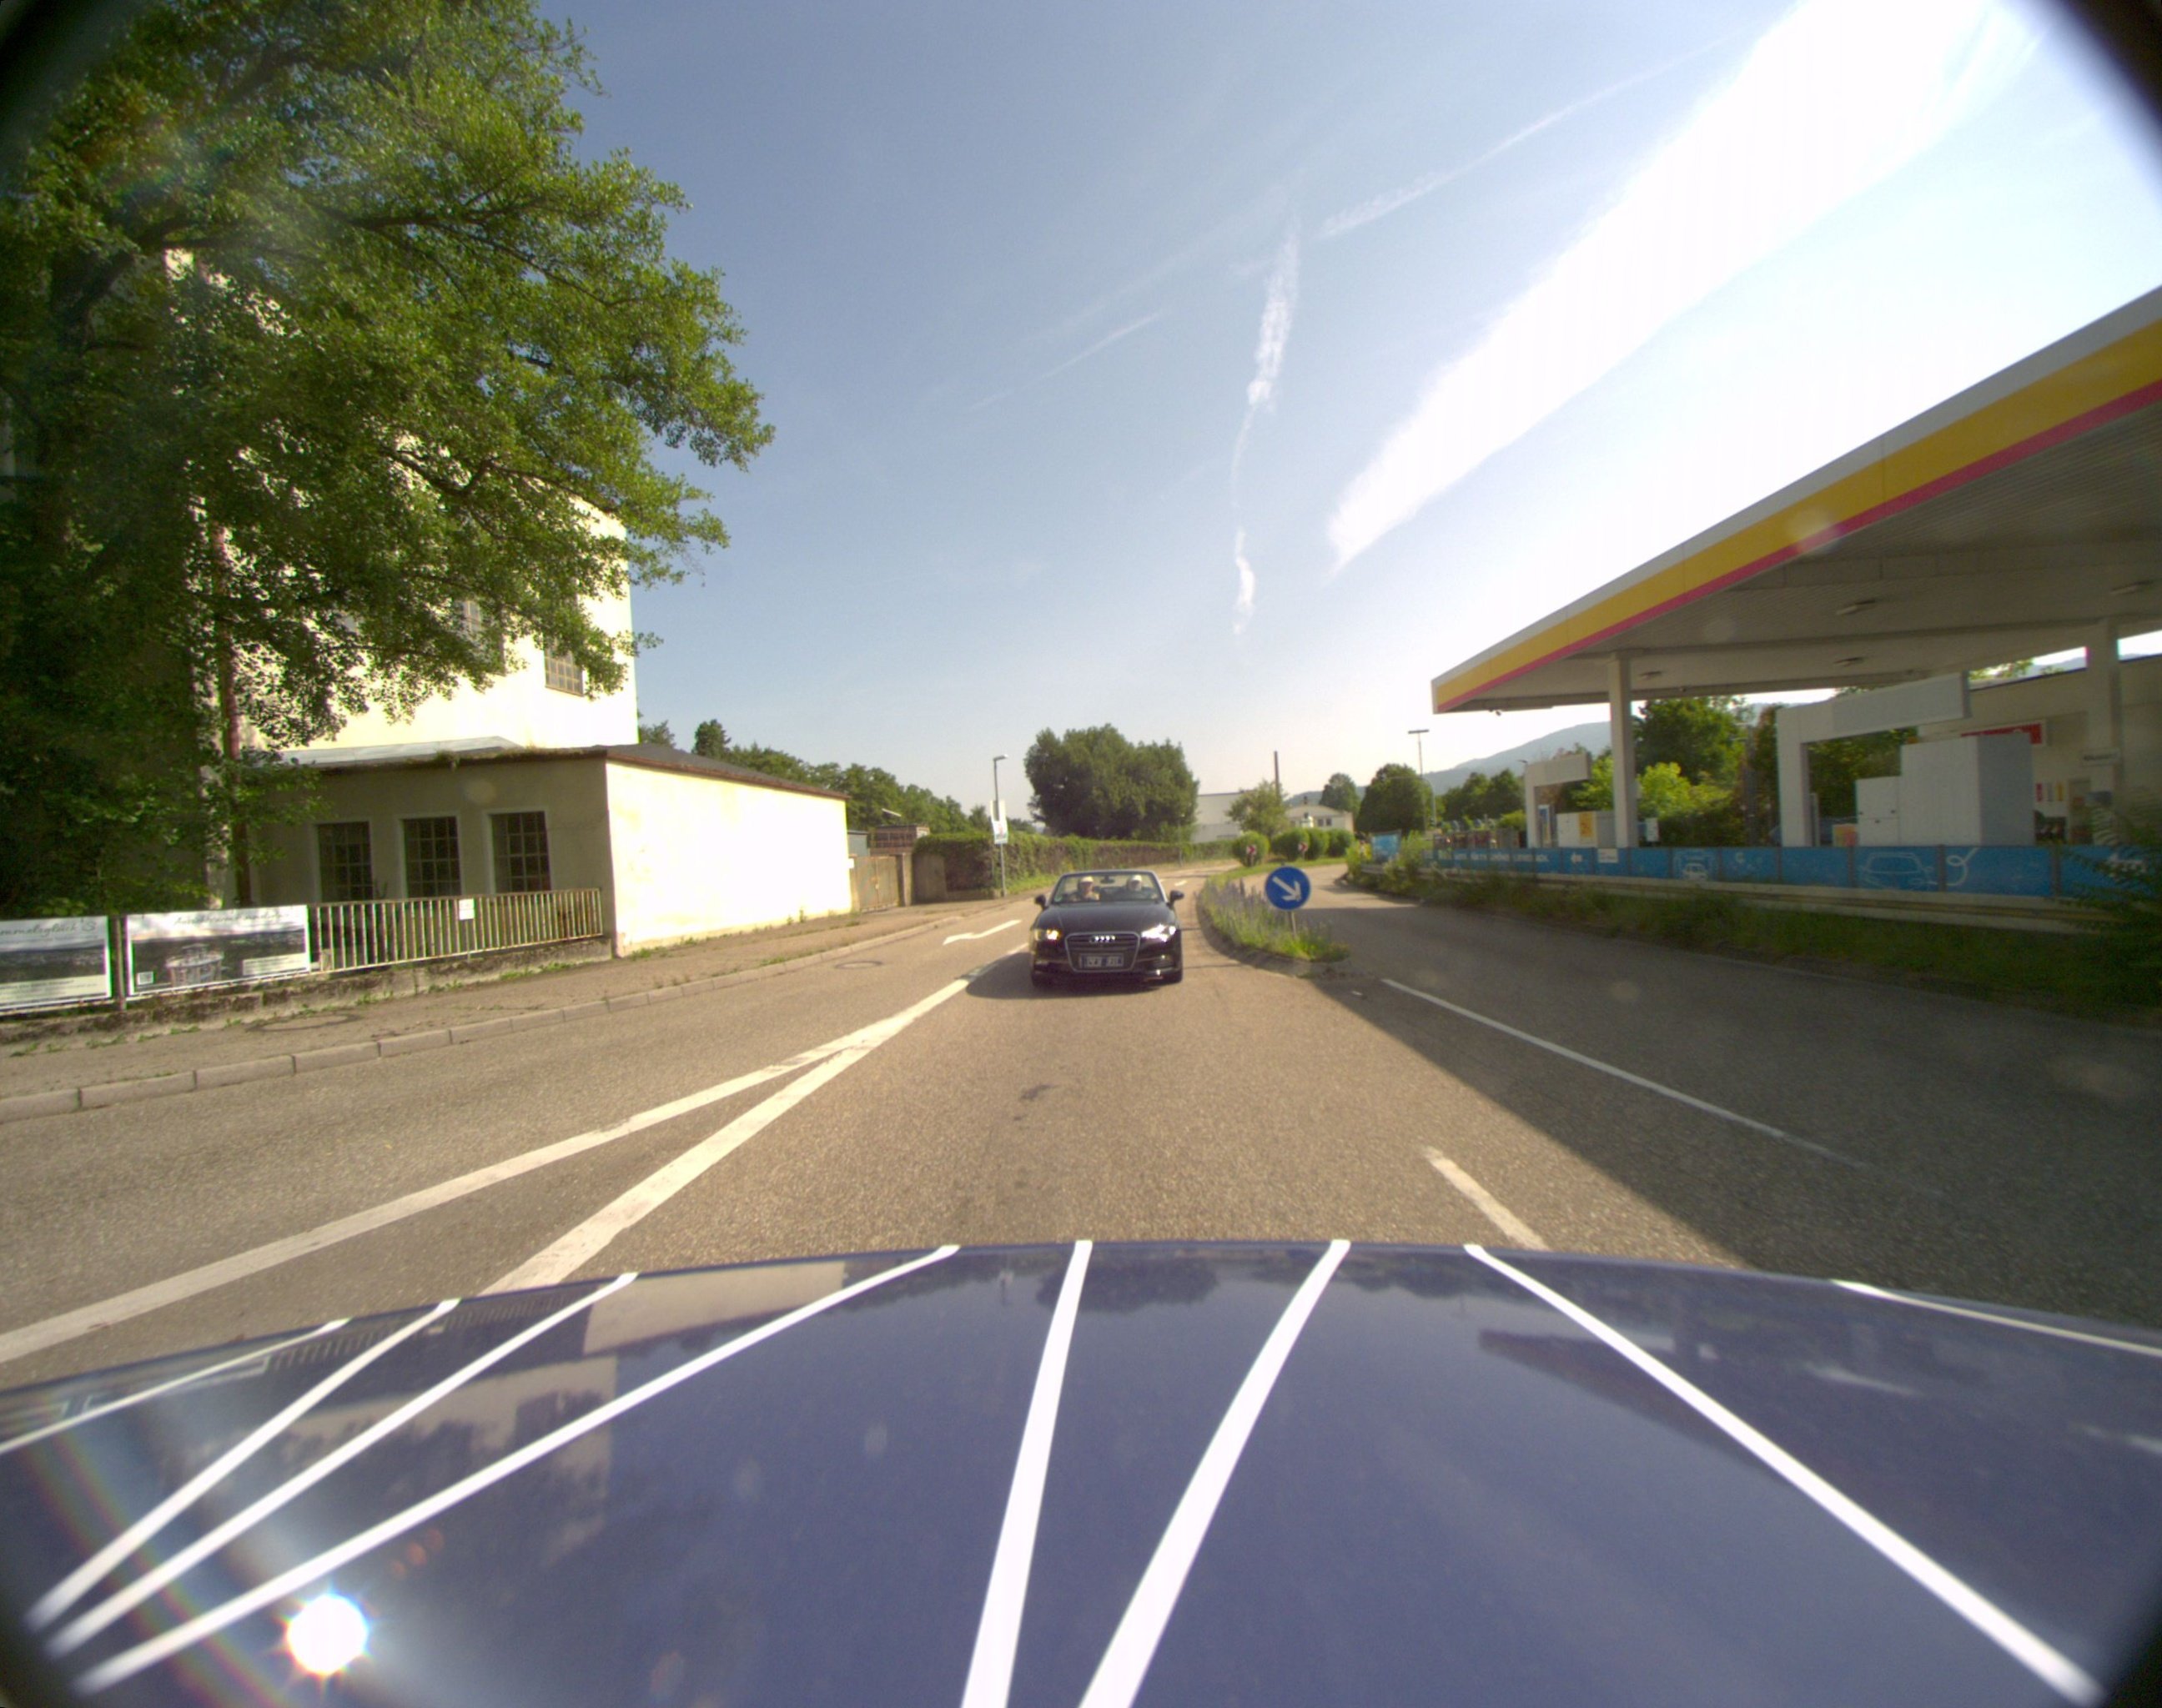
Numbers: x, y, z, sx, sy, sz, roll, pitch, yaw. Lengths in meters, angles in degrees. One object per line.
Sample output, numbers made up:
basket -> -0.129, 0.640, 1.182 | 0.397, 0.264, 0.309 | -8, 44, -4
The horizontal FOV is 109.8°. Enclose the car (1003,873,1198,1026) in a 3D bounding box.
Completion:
car -> 0.499, 1.013, 9.597 | 1.867, 1.323, 4.234 | -2, 0, 9
